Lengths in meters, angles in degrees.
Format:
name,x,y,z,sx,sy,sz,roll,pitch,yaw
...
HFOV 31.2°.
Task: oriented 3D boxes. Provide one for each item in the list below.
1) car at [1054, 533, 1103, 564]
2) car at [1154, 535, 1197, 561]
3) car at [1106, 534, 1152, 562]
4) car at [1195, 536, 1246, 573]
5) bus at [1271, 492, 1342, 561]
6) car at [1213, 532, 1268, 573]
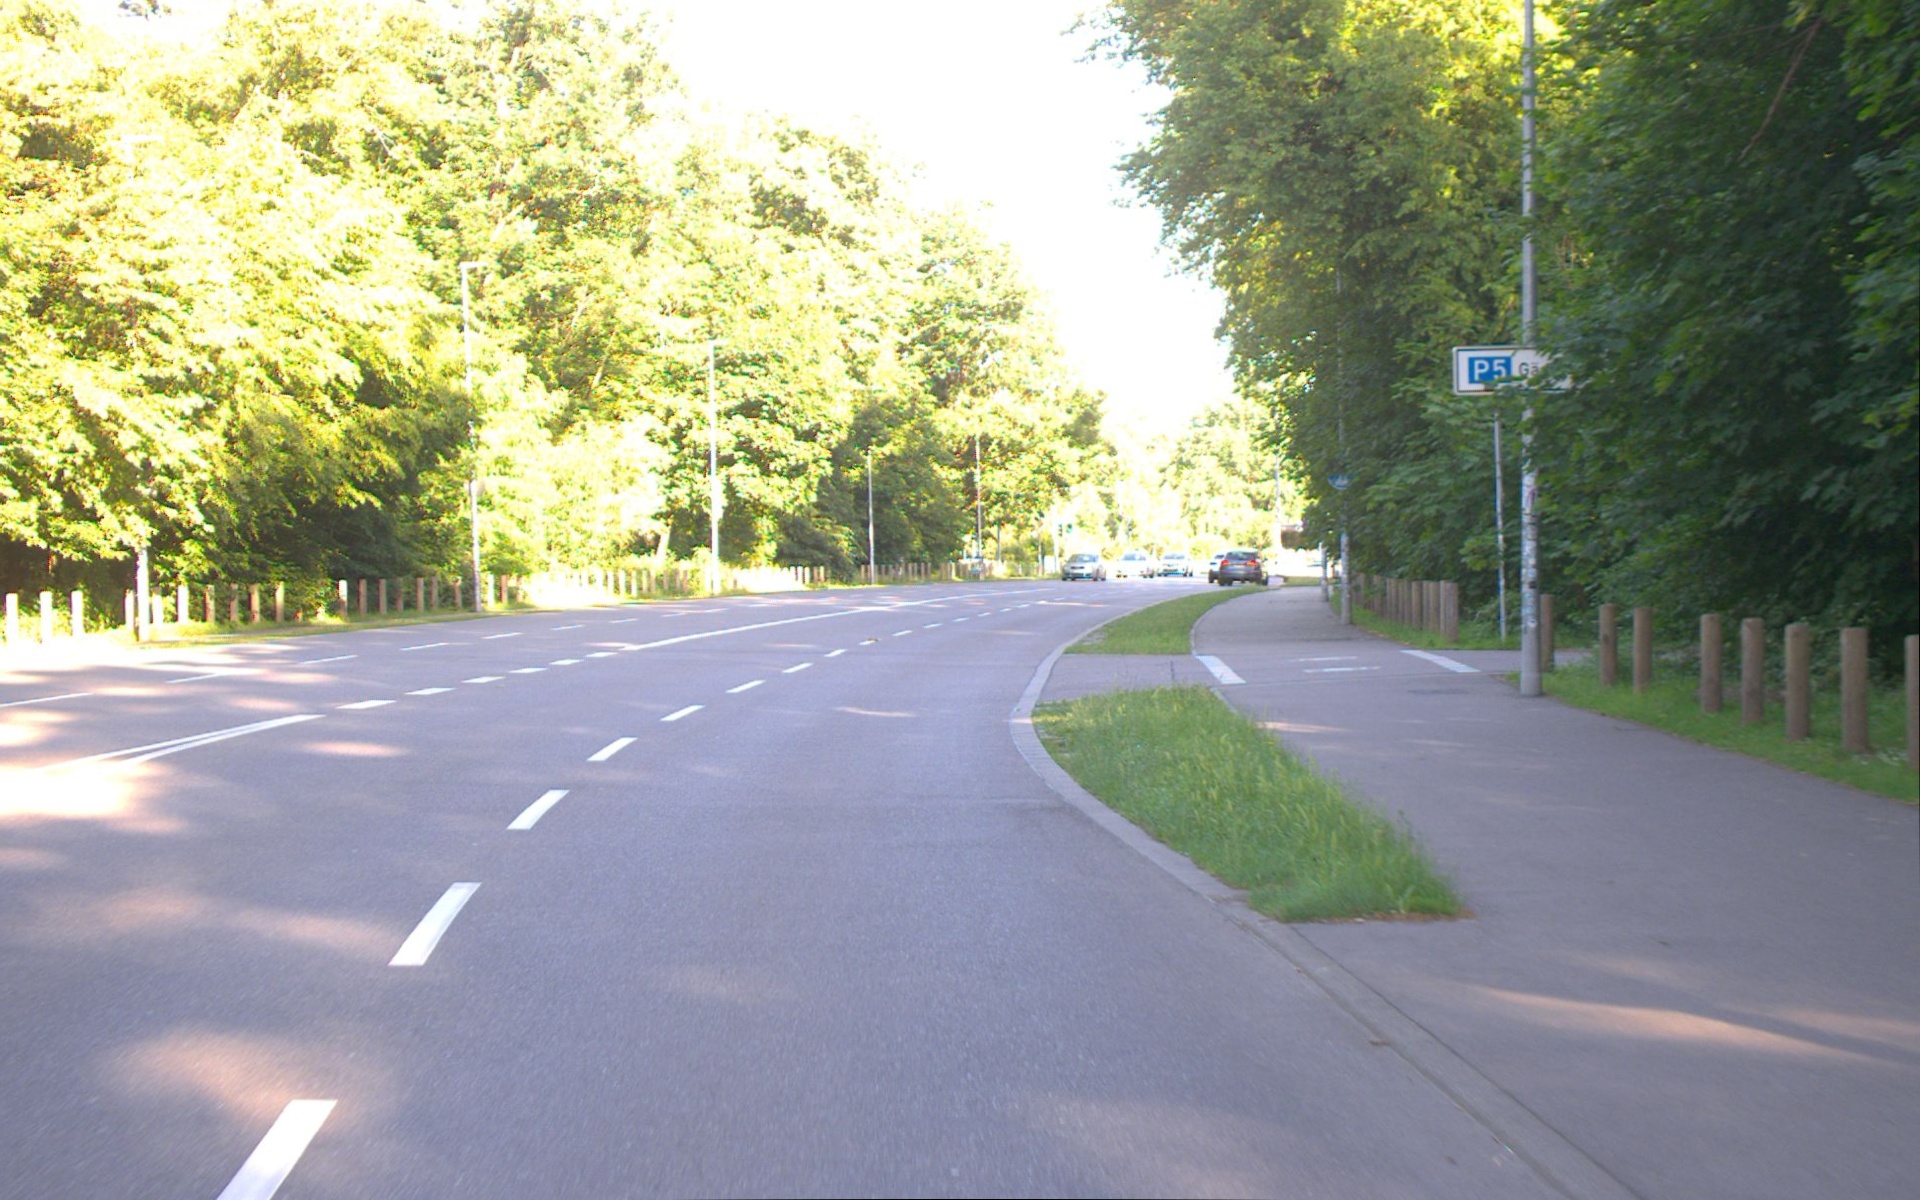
name,x,y,z,sx,sy,sz,roll,pitch,yaw
car,5.838,-2.546,169.164,1.780,1.403,4.164,0,2,11
car,12.958,-3.146,206.309,1.784,1.517,4.395,0,2,15
car,9.261,-2.864,188.570,1.780,1.459,4.272,-1,1,13
car,12.709,-2.236,167.776,1.881,1.703,3.998,0,1,13
bus,17.442,-3.722,172.596,2.606,3.357,7.971,1,2,13
car,12.559,-2.117,153.648,1.881,1.759,3.998,0,1,13
